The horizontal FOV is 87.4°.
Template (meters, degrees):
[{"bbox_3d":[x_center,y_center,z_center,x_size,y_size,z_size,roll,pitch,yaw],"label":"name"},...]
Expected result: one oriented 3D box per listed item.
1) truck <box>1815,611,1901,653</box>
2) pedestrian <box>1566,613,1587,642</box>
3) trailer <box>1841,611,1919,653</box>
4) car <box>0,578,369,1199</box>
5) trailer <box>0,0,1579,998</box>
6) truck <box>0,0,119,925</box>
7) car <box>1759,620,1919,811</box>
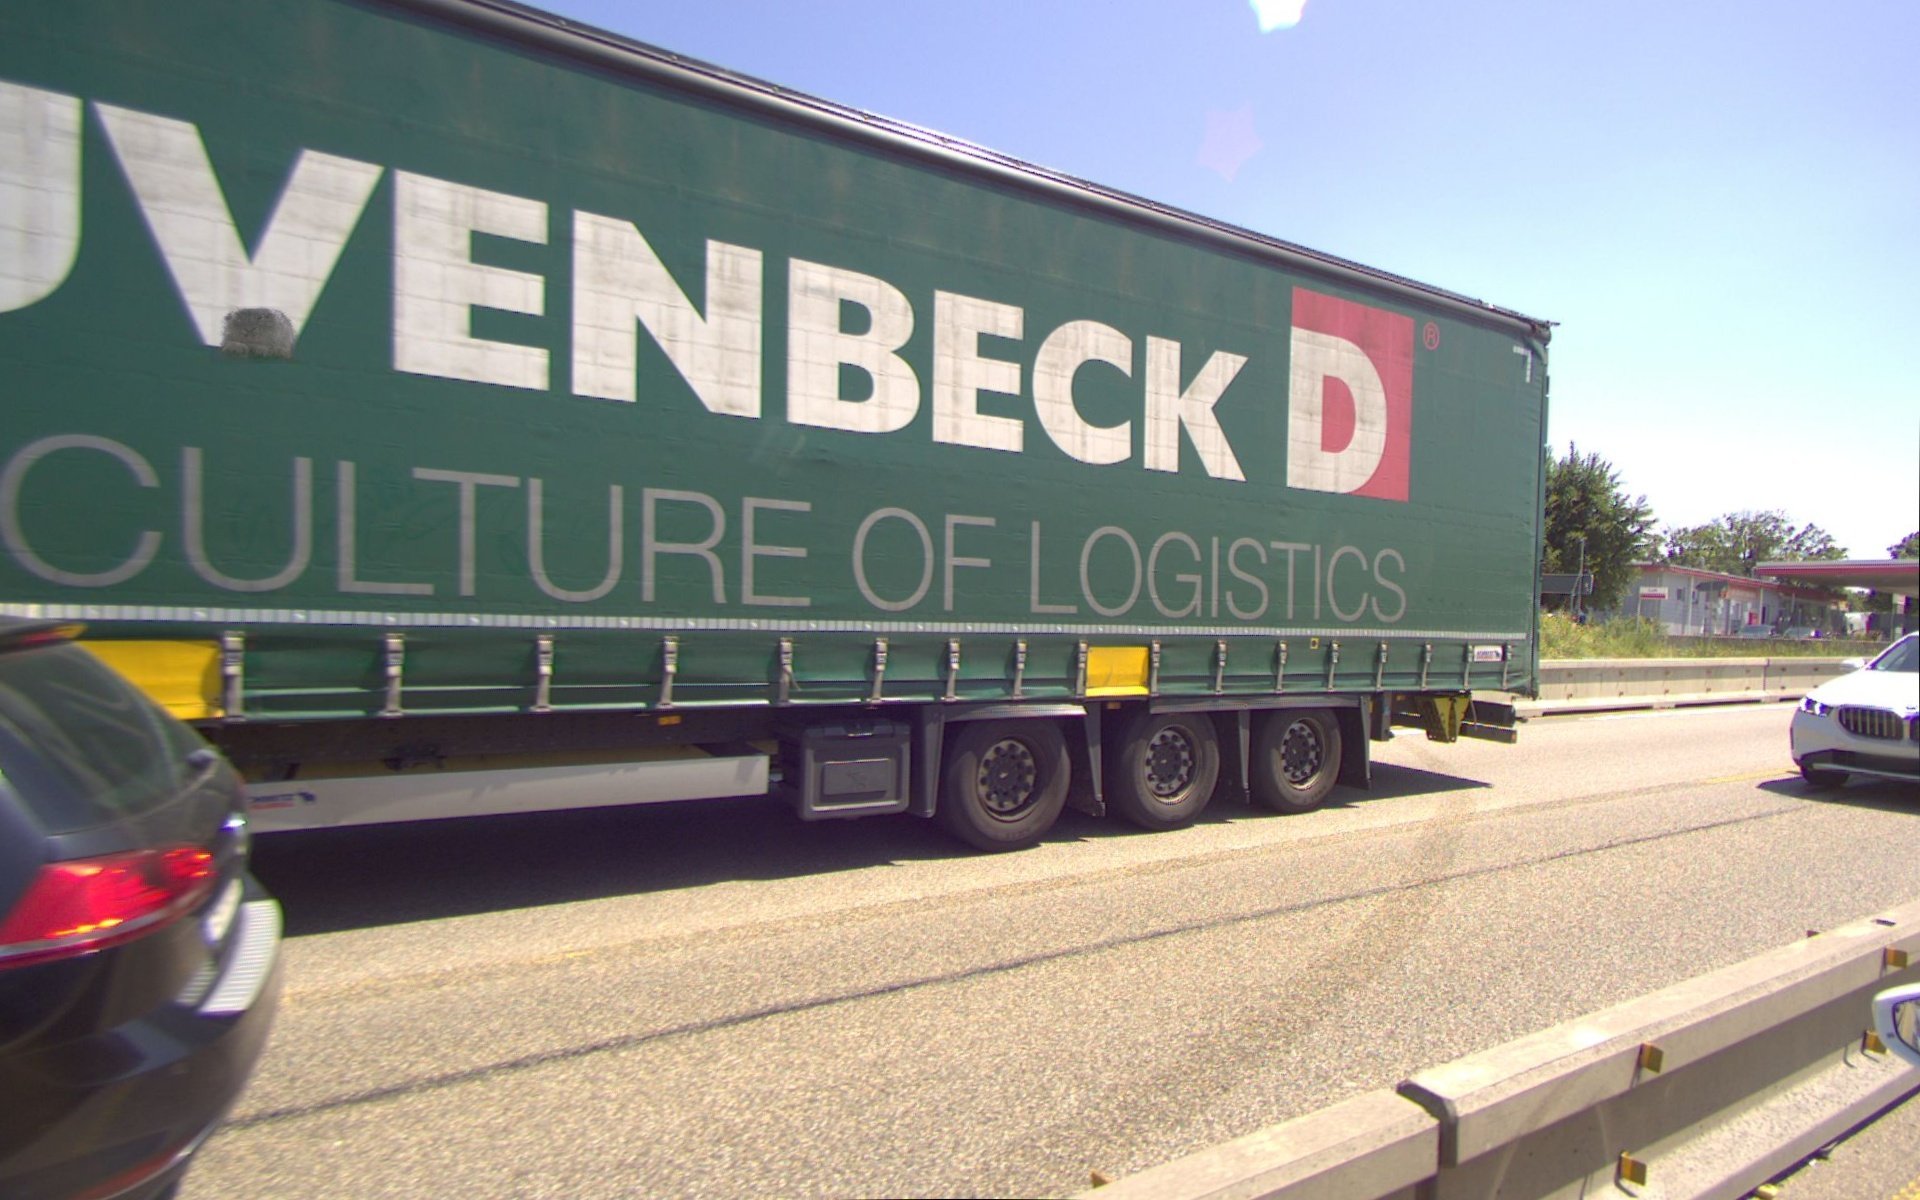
[{"bbox_3d":[93.134,3.281,104.238,6.225,4.038,3.159,2,-1,-4],"label":"truck"},{"bbox_3d":[26.836,1.189,43.715,0.576,1.221,0.474,1,0,-16],"label":"pedestrian"},{"bbox_3d":[99.955,3.467,104.750,13.893,4.165,3.159,2,-1,-4],"label":"trailer"},{"bbox_3d":[-3.327,0.671,1.500,4.179,1.493,1.757,1,0,-31],"label":"car"},{"bbox_3d":[-1.176,-0.668,6.607,13.693,4.254,2.991,1,0,-31],"label":"trailer"},{"bbox_3d":[-6.966,-0.808,3.102,6.211,4.259,2.991,1,0,-31],"label":"truck"},{"bbox_3d":[9.629,0.985,9.391,4.706,1.512,1.886,1,-1,-31],"label":"car"}]
